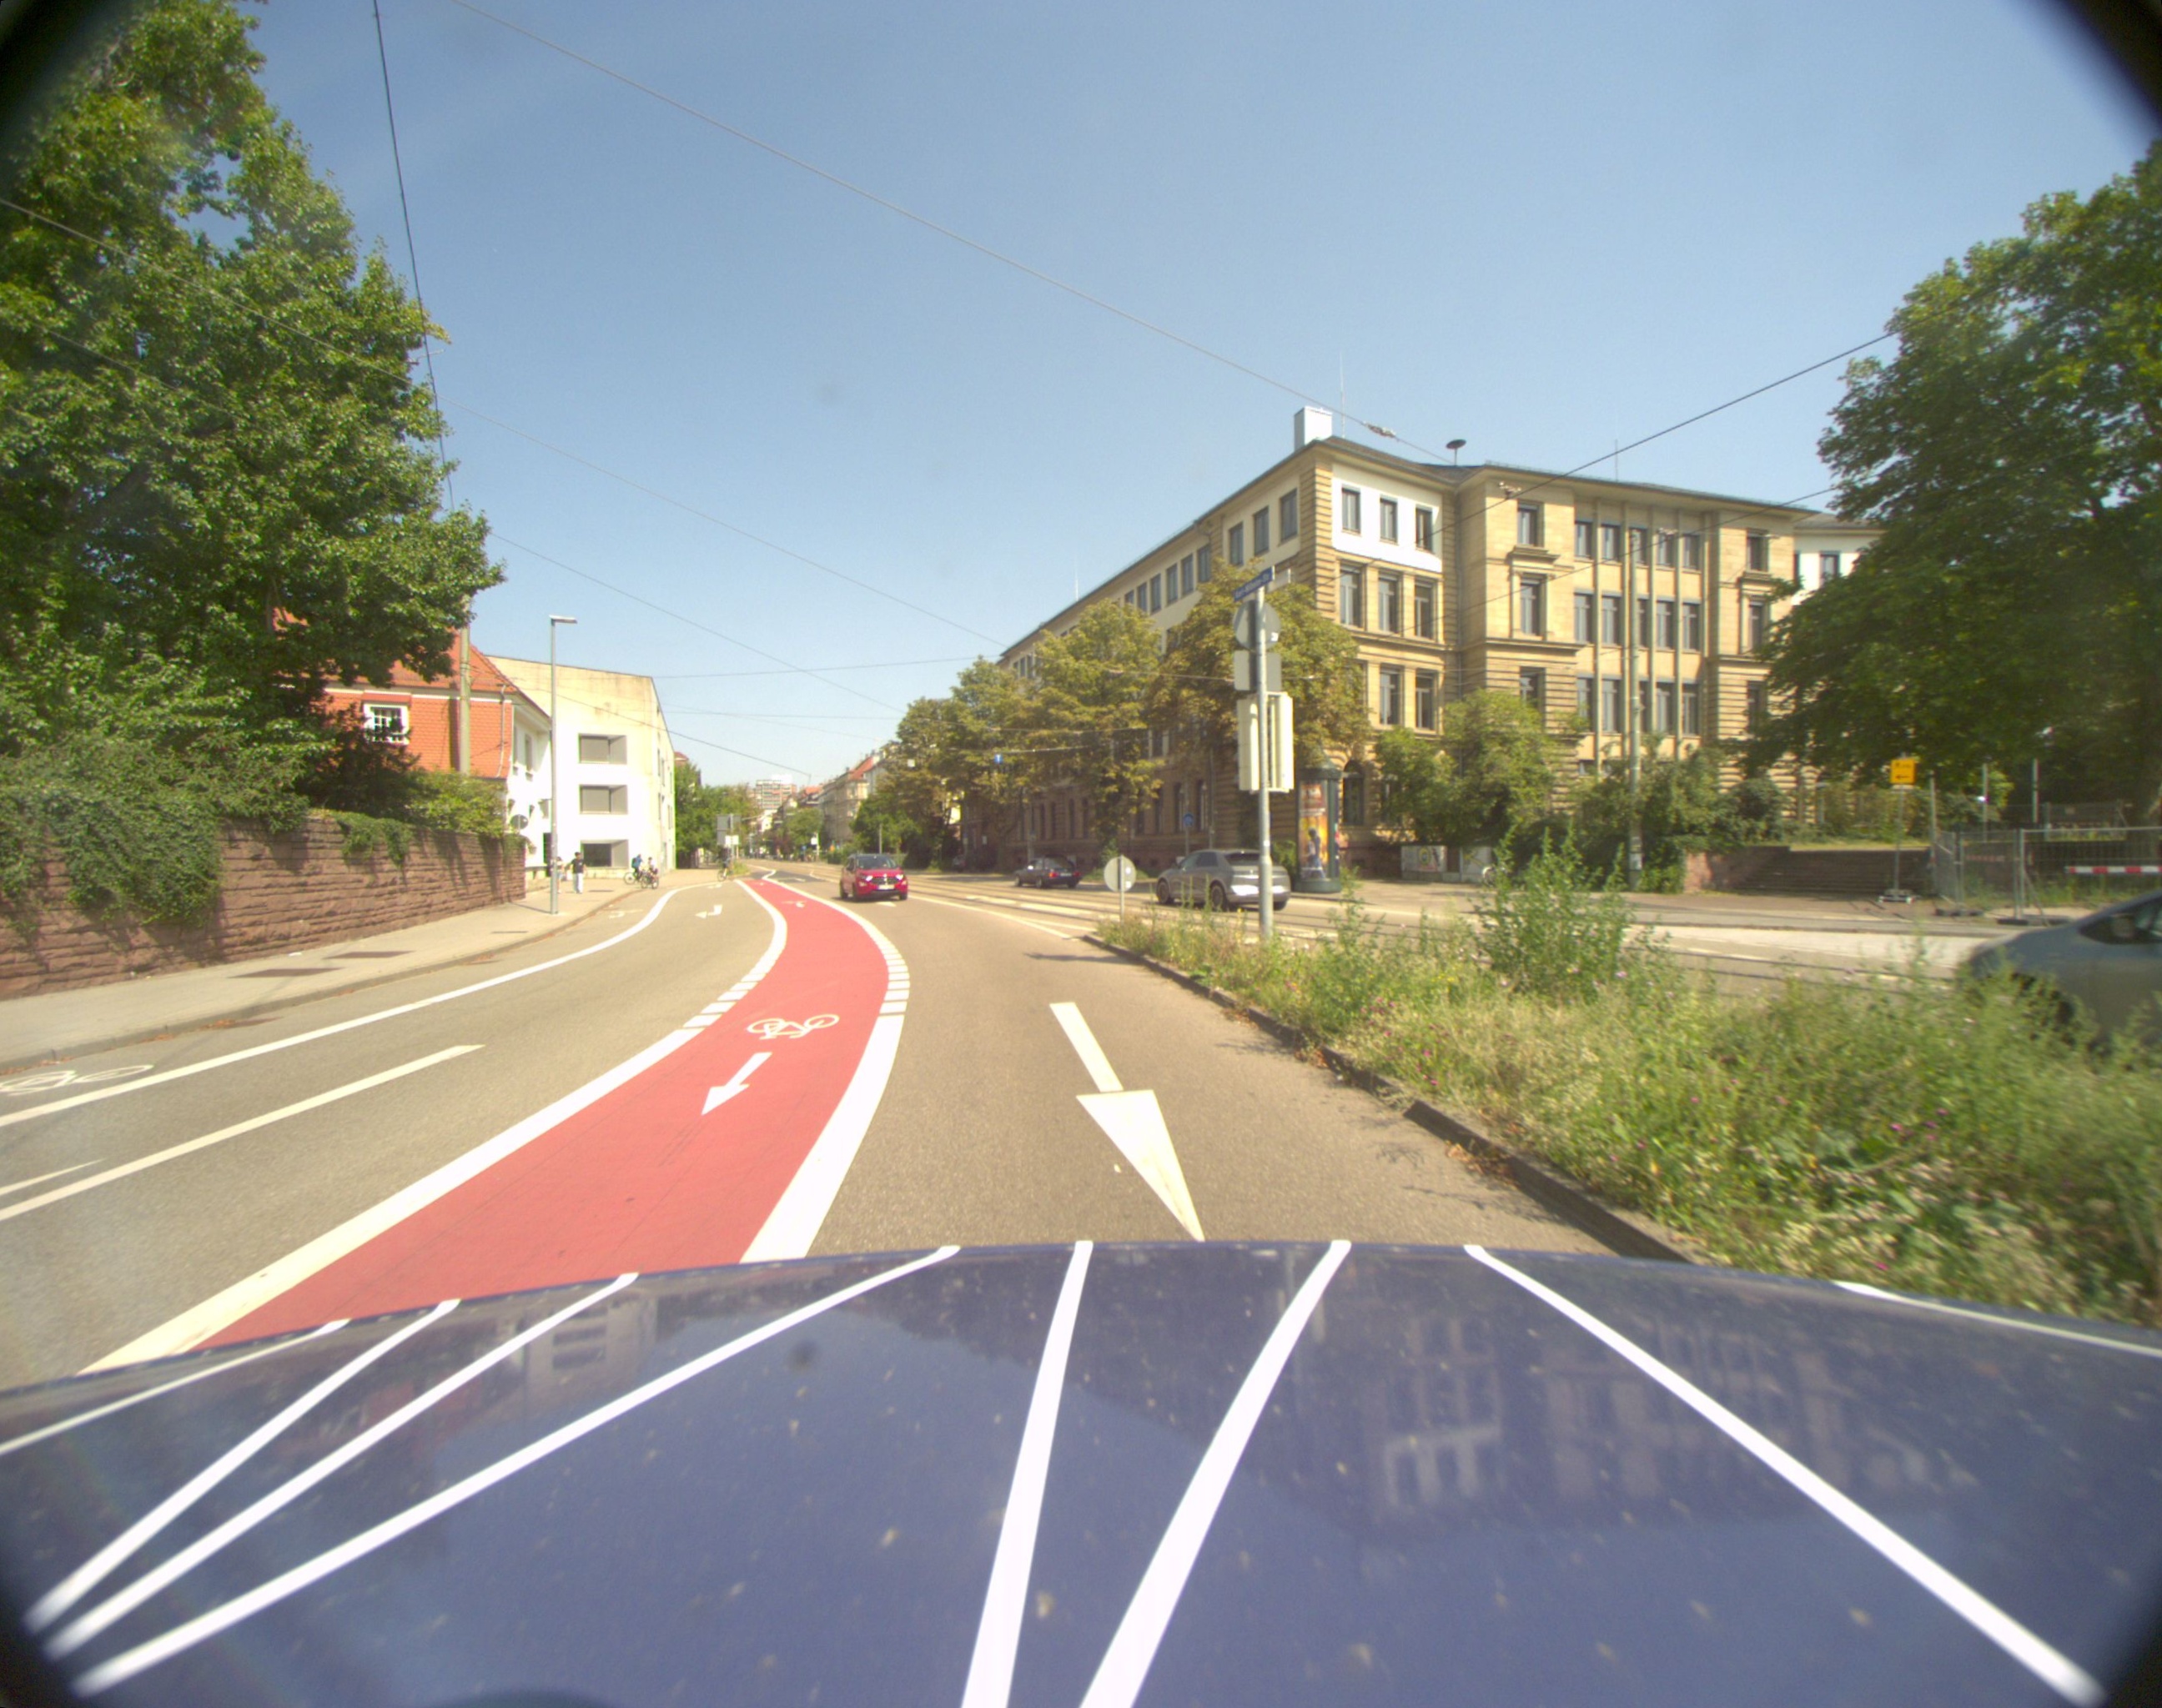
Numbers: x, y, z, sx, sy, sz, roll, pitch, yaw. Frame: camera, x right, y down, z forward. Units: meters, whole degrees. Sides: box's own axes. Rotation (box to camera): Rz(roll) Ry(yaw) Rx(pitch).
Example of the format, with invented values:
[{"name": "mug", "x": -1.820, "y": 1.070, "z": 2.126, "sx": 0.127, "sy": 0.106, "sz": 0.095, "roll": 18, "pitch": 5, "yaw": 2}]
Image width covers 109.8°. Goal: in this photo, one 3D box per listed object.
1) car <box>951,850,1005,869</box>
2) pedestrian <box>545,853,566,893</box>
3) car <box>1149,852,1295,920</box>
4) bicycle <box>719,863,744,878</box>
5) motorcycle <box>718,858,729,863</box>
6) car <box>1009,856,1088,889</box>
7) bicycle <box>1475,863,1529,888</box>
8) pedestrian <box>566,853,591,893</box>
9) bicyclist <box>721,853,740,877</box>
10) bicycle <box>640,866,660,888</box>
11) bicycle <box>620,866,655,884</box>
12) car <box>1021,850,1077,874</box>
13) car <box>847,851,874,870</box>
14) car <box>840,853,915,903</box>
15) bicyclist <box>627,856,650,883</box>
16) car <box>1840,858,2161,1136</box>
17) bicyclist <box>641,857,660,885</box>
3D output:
[{"name": "car", "x": -8.612, "y": 0.476, "z": 63.814, "sx": 1.816, "sy": 1.453, "sz": 4.438, "roll": -1, "pitch": 1, "yaw": 37}, {"name": "pedestrian", "x": -22.336, "y": 0.808, "z": 32.280, "sx": 0.621, "sy": 1.656, "sz": 0.486, "roll": -2, "pitch": 1, "yaw": -27}, {"name": "car", "x": 3.636, "y": 0.760, "z": 20.535, "sx": 1.779, "sy": 1.601, "sz": 4.665, "roll": -1, "pitch": 0, "yaw": -19}, {"name": "bicycle", "x": -23.658, "y": 1.117, "z": 51.403, "sx": 0.615, "sy": 0.994, "sz": 1.713, "roll": 0, "pitch": 0, "yaw": 13}, {"name": "motorcycle", "x": -74.618, "y": 1.387, "z": 158.696, "sx": 2.004, "sy": 1.009, "sz": 0.795, "roll": 2, "pitch": -1, "yaw": -26}, {"name": "car", "x": -1.545, "y": 0.772, "z": 33.902, "sx": 1.696, "sy": 1.370, "sz": 4.607, "roll": -1, "pitch": 0, "yaw": -28}, {"name": "bicycle", "x": 15.709, "y": 0.793, "z": 28.360, "sx": 2.184, "sy": 0.889, "sz": 0.748, "roll": -1, "pitch": 1, "yaw": -30}, {"name": "pedestrian", "x": -21.610, "y": 0.800, "z": 32.685, "sx": 0.730, "sy": 1.656, "sz": 0.877, "roll": -2, "pitch": 1, "yaw": -24}, {"name": "bicyclist", "x": -23.670, "y": 0.732, "z": 51.335, "sx": 0.627, "sy": 1.589, "sz": 0.993, "roll": 0, "pitch": 1, "yaw": 14}, {"name": "bicycle", "x": -22.437, "y": 1.184, "z": 39.578, "sx": 0.742, "sy": 1.043, "sz": 2.228, "roll": -1, "pitch": 0, "yaw": -26}, {"name": "bicycle", "x": -25.567, "y": 1.198, "z": 43.837, "sx": 0.614, "sy": 0.994, "sz": 1.714, "roll": 0, "pitch": -1, "yaw": 25}, {"name": "car", "x": -2.068, "y": 0.502, "z": 50.412, "sx": 1.816, "sy": 1.487, "sz": 4.171, "roll": -1, "pitch": 0, "yaw": 27}, {"name": "car", "x": -19.865, "y": 0.590, "z": 68.276, "sx": 1.699, "sy": 1.645, "sz": 3.573, "roll": -2, "pitch": 1, "yaw": -26}, {"name": "car", "x": -7.144, "y": 0.785, "z": 26.385, "sx": 1.819, "sy": 1.542, "sz": 4.013, "roll": -2, "pitch": 0, "yaw": -25}, {"name": "bicyclist", "x": -25.548, "y": 0.910, "z": 43.850, "sx": 0.626, "sy": 1.530, "sz": 0.905, "roll": 1, "pitch": -1, "yaw": 26}, {"name": "car", "x": 6.860, "y": 0.813, "z": 4.003, "sx": 1.654, "sy": 1.521, "sz": 4.327, "roll": 0, "pitch": 0, "yaw": 5}, {"name": "bicyclist", "x": -22.436, "y": 0.883, "z": 39.612, "sx": 0.748, "sy": 1.403, "sz": 0.960, "roll": -1, "pitch": 1, "yaw": -26}]
